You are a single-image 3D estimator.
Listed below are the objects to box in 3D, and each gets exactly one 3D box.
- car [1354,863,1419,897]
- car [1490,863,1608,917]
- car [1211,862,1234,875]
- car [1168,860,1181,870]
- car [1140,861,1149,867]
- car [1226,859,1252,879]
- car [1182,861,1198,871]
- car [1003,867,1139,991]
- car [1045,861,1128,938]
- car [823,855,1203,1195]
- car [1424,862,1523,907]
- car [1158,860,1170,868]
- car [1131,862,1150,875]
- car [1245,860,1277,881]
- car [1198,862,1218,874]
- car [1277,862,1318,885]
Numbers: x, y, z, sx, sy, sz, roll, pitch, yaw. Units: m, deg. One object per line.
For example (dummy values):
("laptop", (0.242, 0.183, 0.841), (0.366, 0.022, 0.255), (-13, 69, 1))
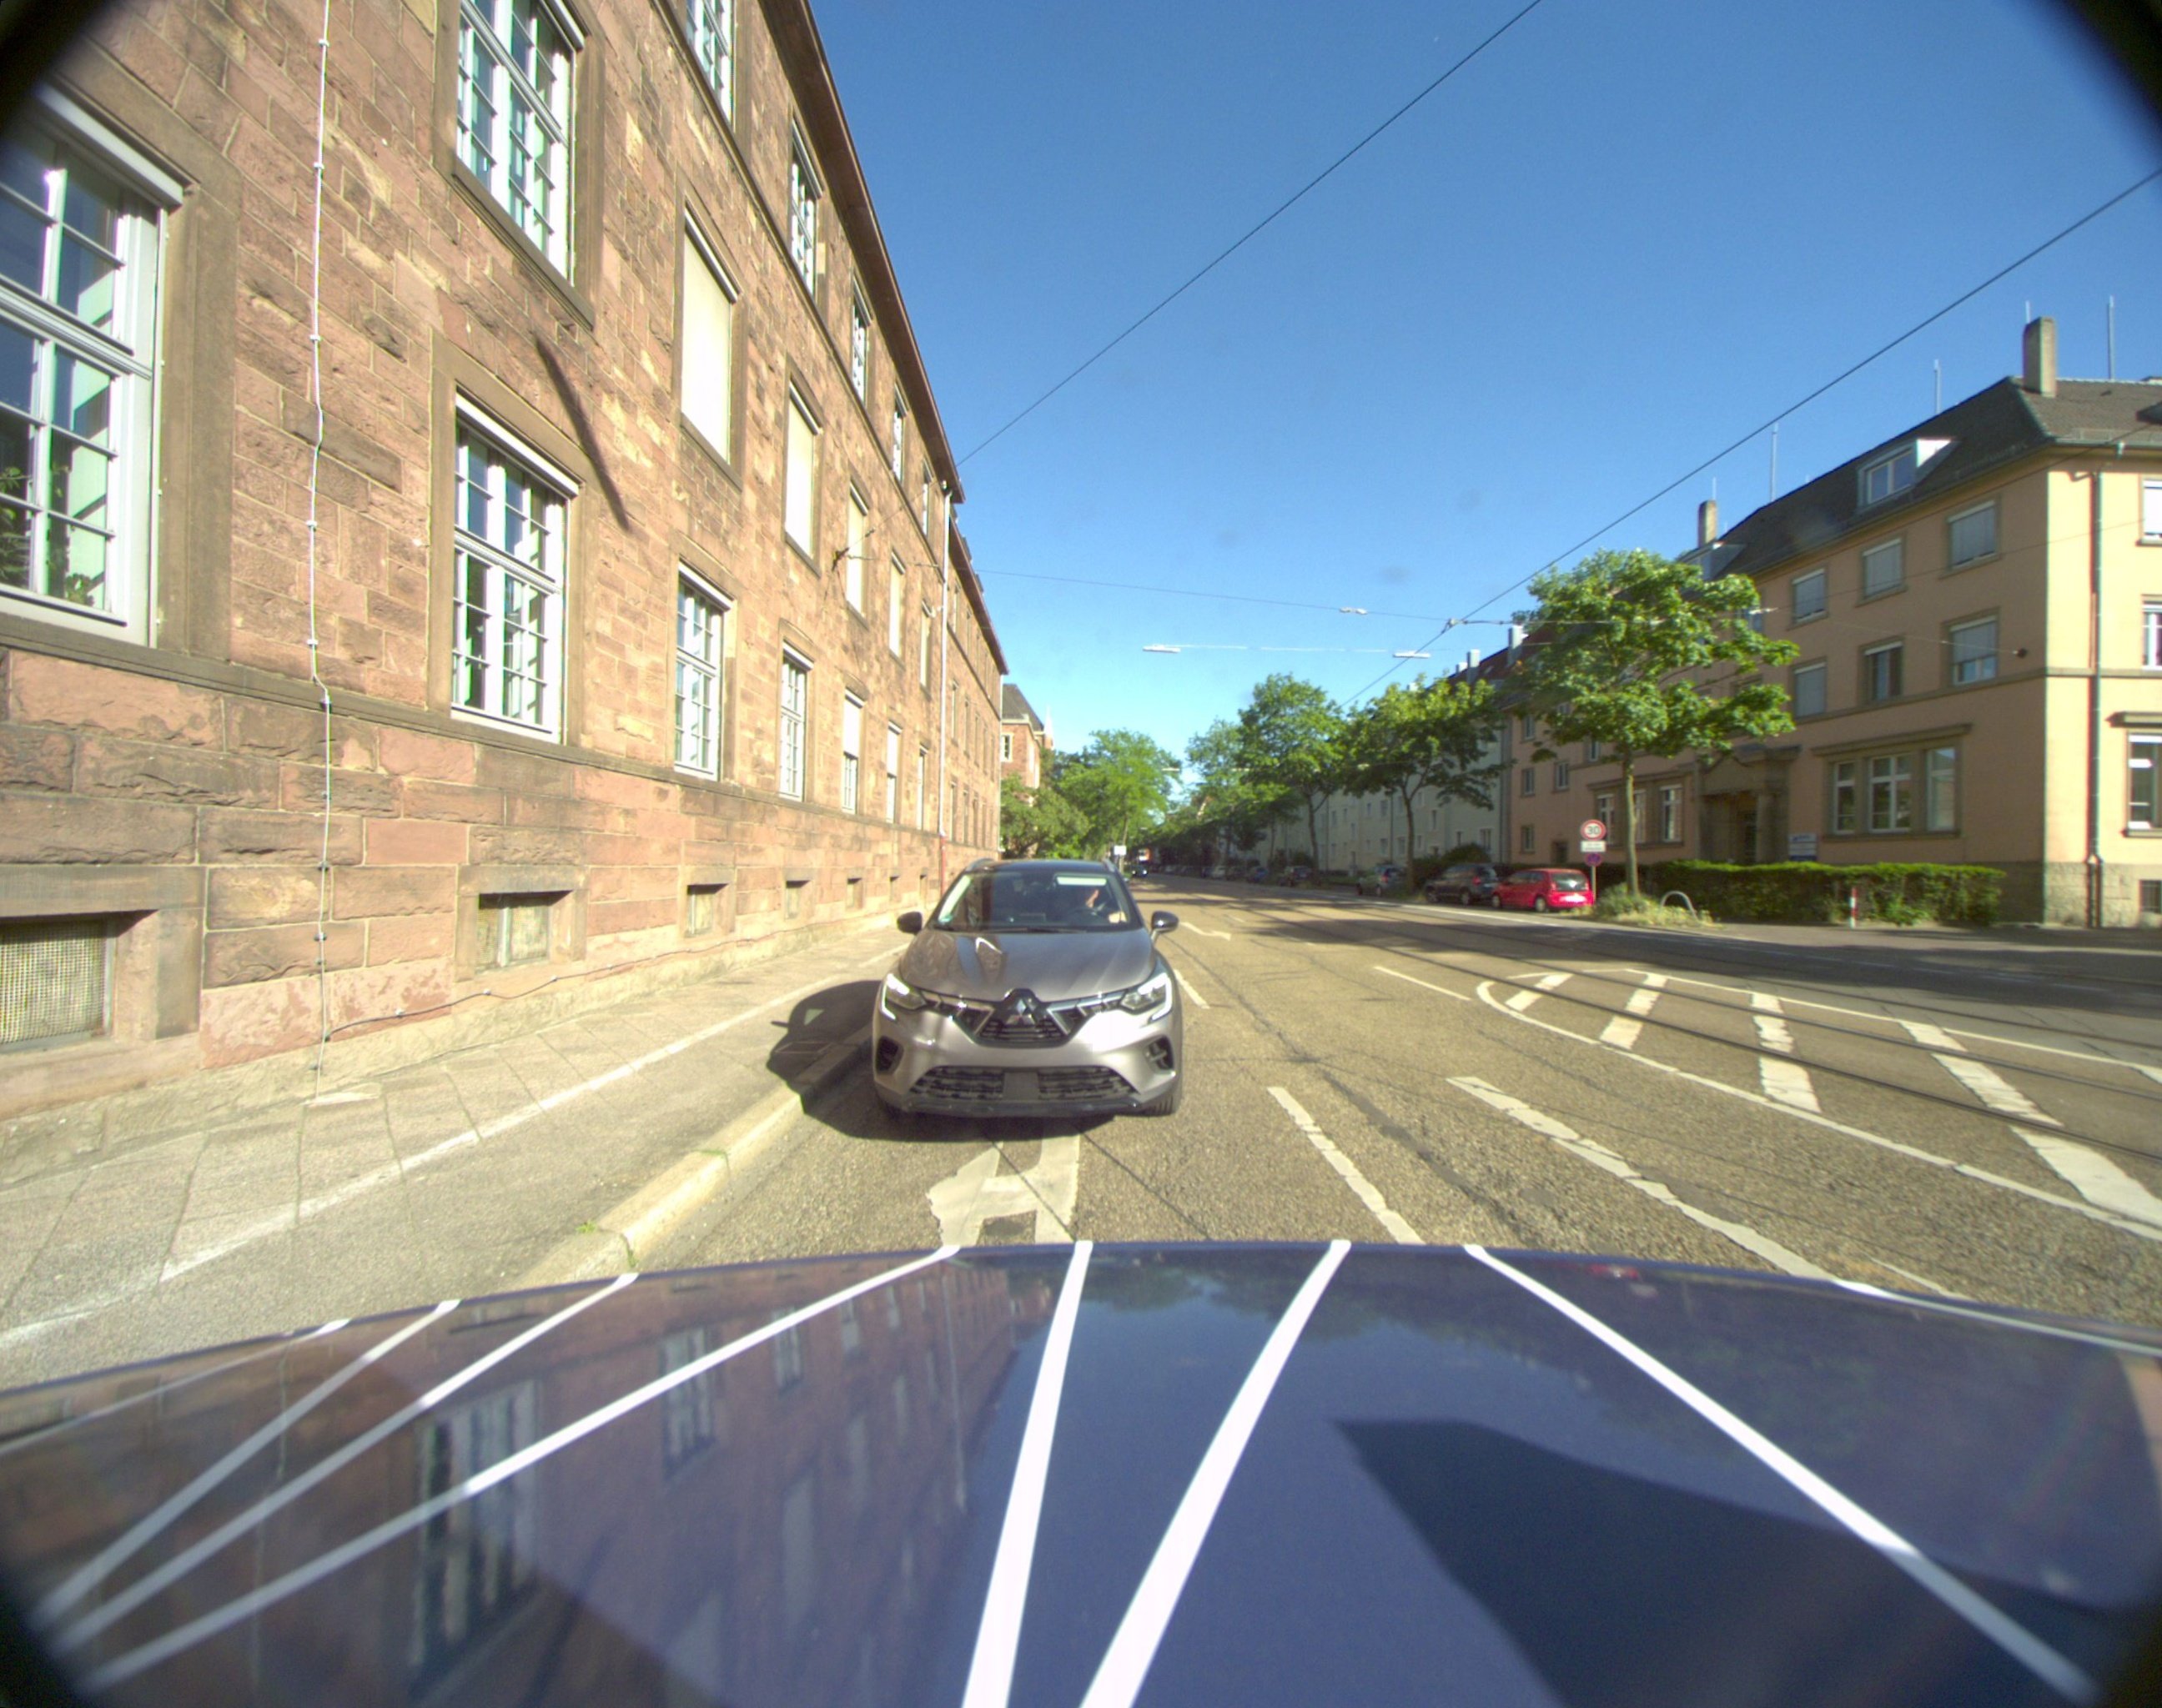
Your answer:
("car", (15.725, 1.296, 39.353), (1.816, 1.648, 3.877), (1, 0, 1))
("car", (15.849, 1.162, 25.935), (1.816, 1.696, 3.374), (1, 0, -3))
("car", (16.019, 1.660, 85.927), (1.816, 1.411, 3.630), (1, 0, -2))
("car", (16.573, 1.930, 135.235), (1.816, 1.768, 3.630), (1, 0, -2))
("car", (16.047, 2.466, 191.299), (1.816, 1.411, 3.630), (1, 0, -2))
("car", (15.890, 1.522, 76.568), (1.816, 1.929, 3.630), (1, 0, -2))
("car", (16.024, 1.734, 111.798), (1.816, 1.411, 3.630), (1, 0, -2))
("car", (-0.185, 1.028, 12.038), (1.796, 1.595, 3.799), (0, 0, -2))
("car", (0.068, 1.010, 18.486), (1.796, 1.638, 4.083), (0, 0, -2))
("car", (-0.367, 0.822, 5.518), (1.796, 1.595, 3.799), (0, 0, -2))
("car", (15.639, 1.166, 30.526), (1.816, 1.648, 3.819), (1, 0, -3))
("car", (15.961, 1.838, 146.872), (1.816, 1.514, 3.630), (1, 0, -2))
("car", (7.208, 1.711, 91.885), (1.912, 1.510, 4.000), (1, 0, -1))
("car", (15.962, 1.466, 67.490), (1.816, 1.814, 3.795), (1, 0, -2))
("car", (15.833, 1.748, 94.854), (1.816, 1.411, 3.630), (1, 0, -2))
("car", (15.782, 1.422, 55.598), (1.816, 1.589, 3.630), (1, 0, -2))
